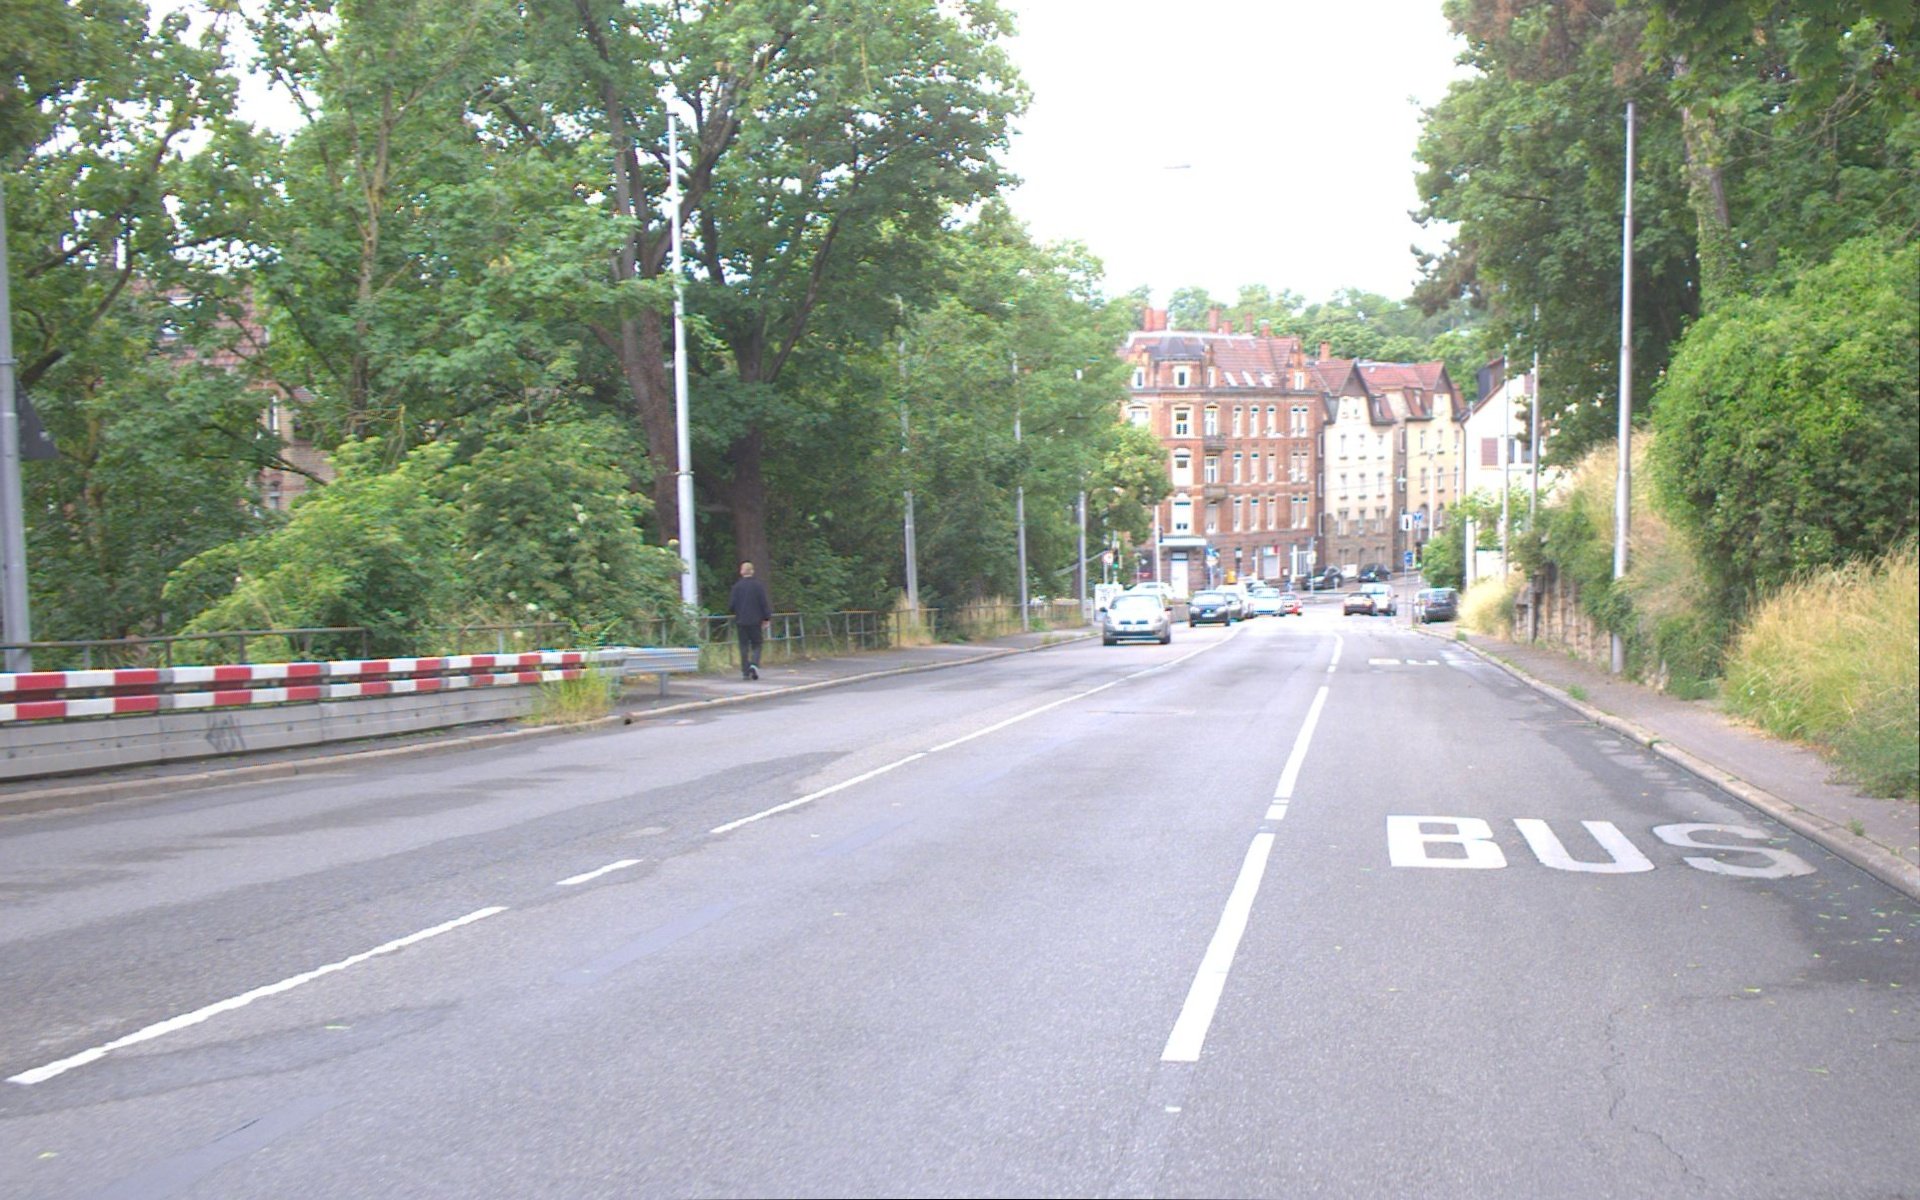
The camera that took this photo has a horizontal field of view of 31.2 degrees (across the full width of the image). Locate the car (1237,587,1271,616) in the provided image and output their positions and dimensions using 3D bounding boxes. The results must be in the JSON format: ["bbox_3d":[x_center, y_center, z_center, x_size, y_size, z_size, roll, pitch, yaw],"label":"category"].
[{"bbox_3d":[16.635,0.094,194.512,1.784,1.569,4.280,-1,0,6],"label":"car"}]

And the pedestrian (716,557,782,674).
[{"bbox_3d":[-3.290,0.241,53.576,0.788,1.768,1.209,3,0,4],"label":"pedestrian"}]

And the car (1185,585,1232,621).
[{"bbox_3d":[10.200,0.128,140.926,1.669,1.442,3.687,-1,0,7],"label":"car"}]

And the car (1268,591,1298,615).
[{"bbox_3d":[20.114,0.165,214.214,1.784,1.454,4.427,-1,0,6],"label":"car"}]

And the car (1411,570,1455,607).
[{"bbox_3d":[20.186,-0.477,146.749,1.682,1.446,3.999,-4,-1,7],"label":"car"}]

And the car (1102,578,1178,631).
[{"bbox_3d":[4.988,0.095,94.783,1.795,1.422,4.142,0,0,7],"label":"car"}]

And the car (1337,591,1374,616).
[{"bbox_3d":[23.641,0.204,205.432,1.817,1.425,3.998,1,0,11],"label":"car"}]
